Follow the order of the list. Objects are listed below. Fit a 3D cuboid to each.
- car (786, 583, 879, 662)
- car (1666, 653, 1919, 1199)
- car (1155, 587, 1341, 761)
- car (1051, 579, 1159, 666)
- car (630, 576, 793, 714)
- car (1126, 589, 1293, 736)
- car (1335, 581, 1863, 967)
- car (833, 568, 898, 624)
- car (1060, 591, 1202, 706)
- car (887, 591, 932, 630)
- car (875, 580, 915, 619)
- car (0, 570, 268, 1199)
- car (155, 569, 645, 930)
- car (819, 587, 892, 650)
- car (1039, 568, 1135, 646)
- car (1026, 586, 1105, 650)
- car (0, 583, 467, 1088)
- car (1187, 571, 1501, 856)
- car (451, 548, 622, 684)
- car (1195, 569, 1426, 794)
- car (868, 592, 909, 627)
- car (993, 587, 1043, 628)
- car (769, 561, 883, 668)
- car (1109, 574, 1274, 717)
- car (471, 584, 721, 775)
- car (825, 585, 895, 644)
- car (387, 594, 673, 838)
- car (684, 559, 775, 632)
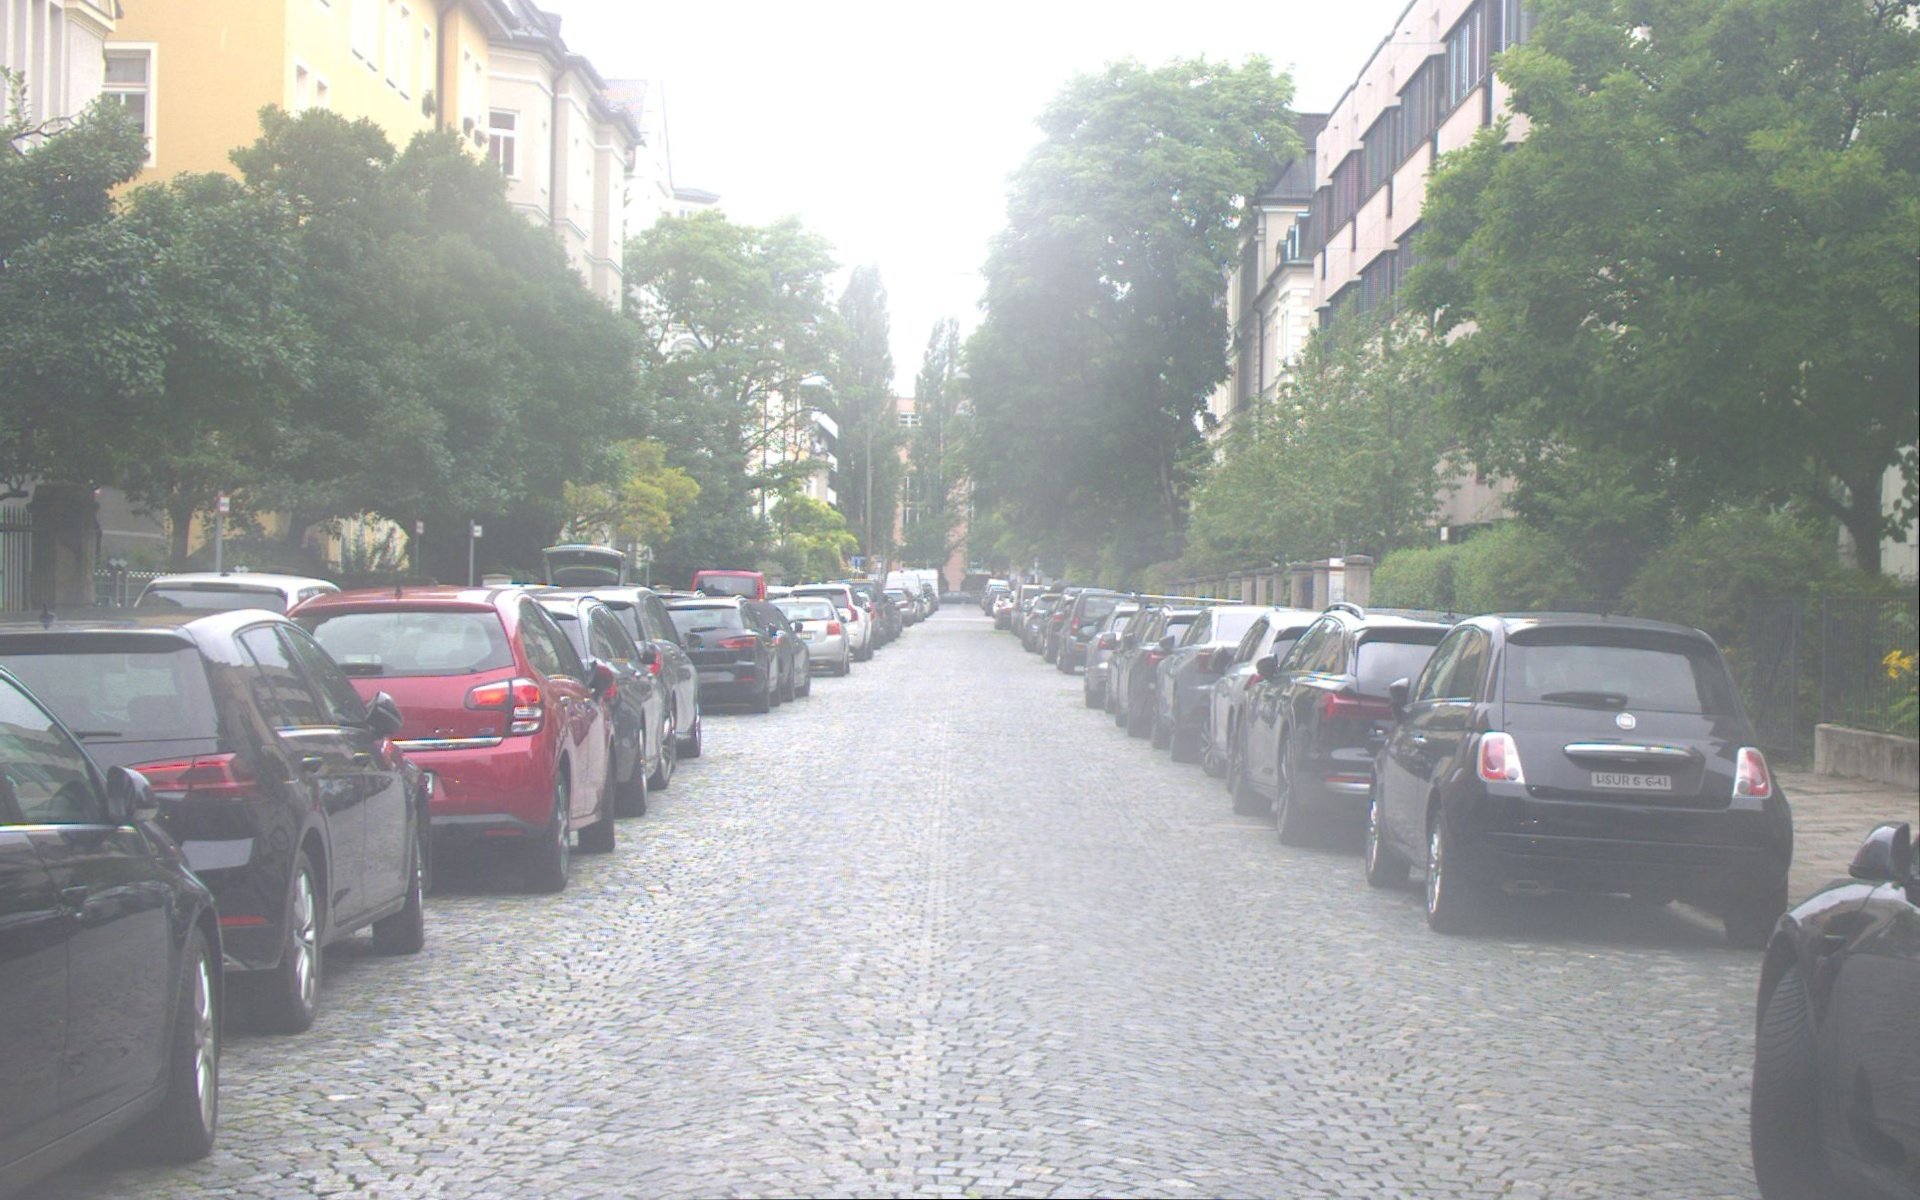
[{"bbox_3d":[-2.831,0.491,76.844,1.922,1.630,3.739,-3,0,-1],"label":"car"},{"bbox_3d":[2.860,0.912,6.844,1.922,1.429,4.801,3,0,1],"label":"car"},{"bbox_3d":[2.703,0.670,32.568,1.597,1.497,3.261,-3,0,4],"label":"car"},{"bbox_3d":[2.913,0.448,69.911,1.922,1.630,3.739,-3,0,-1],"label":"car"},{"bbox_3d":[-3.071,0.542,43.081,1.921,1.630,3.739,1,0,-3],"label":"car"},{"bbox_3d":[2.692,0.654,37.627,1.660,1.451,3.448,-3,0,3],"label":"car"},{"bbox_3d":[3.064,0.778,17.336,1.922,1.630,4.046,3,0,1],"label":"car"},{"bbox_3d":[-2.963,-0.120,108.085,1.922,1.630,3.739,-3,0,-1],"label":"car"},{"bbox_3d":[2.336,0.660,47.689,1.660,1.460,3.448,-3,0,-1],"label":"car"},{"bbox_3d":[-2.236,0.490,153.184,1.922,1.630,3.739,-3,0,-1],"label":"car"},{"bbox_3d":[-3.521,-0.005,185.997,1.993,2.007,4.000,1,-1,-3],"label":"car"},{"bbox_3d":[-2.800,0.747,7.316,1.726,1.535,4.336,-3,0,0],"label":"car"},{"bbox_3d":[-2.842,0.718,18.280,1.922,1.630,3.806,-3,0,0],"label":"car"},{"bbox_3d":[-2.911,0.520,96.683,1.922,1.630,3.739,-3,0,-1],"label":"car"},{"bbox_3d":[2.844,0.157,77.858,1.922,1.630,3.739,-3,0,-1],"label":"car"},{"bbox_3d":[2.870,0.490,94.387,1.922,1.630,3.739,-3,0,-1],"label":"car"},{"bbox_3d":[-3.108,0.770,12.790,1.922,1.541,4.000,-3,0,0],"label":"car"},{"bbox_3d":[2.311,0.652,21.423,1.660,1.630,3.539,0,0,2],"label":"car"},{"bbox_3d":[-5.320,0.201,43.599,1.778,1.630,3.739,1,0,-1],"label":"car"},{"bbox_3d":[2.831,0.616,27.731,1.661,1.630,3.447,-3,0,6],"label":"car"},{"bbox_3d":[-3.567,0.468,171.410,1.922,1.630,3.739,-3,0,-1],"label":"car"},{"bbox_3d":[2.439,0.321,145.540,1.922,1.630,3.739,-3,0,-1],"label":"car"},{"bbox_3d":[-2.460,0.267,63.868,1.922,1.832,3.739,-3,0,-1],"label":"car"},{"bbox_3d":[2.831,0.551,42.645,1.660,1.630,3.448,-3,0,-1],"label":"car"},{"bbox_3d":[-3.039,0.642,29.276,1.660,1.529,3.484,0,0,2],"label":"car"},{"bbox_3d":[-2.942,0.430,101.841,1.922,1.630,3.739,-3,0,-1],"label":"car"},{"bbox_3d":[-2.796,0.725,22.779,1.432,1.455,2.650,-3,0,2],"label":"car"},{"bbox_3d":[-5.513,-0.105,82.559,1.922,1.630,3.739,-3,0,-1],"label":"car"}]
